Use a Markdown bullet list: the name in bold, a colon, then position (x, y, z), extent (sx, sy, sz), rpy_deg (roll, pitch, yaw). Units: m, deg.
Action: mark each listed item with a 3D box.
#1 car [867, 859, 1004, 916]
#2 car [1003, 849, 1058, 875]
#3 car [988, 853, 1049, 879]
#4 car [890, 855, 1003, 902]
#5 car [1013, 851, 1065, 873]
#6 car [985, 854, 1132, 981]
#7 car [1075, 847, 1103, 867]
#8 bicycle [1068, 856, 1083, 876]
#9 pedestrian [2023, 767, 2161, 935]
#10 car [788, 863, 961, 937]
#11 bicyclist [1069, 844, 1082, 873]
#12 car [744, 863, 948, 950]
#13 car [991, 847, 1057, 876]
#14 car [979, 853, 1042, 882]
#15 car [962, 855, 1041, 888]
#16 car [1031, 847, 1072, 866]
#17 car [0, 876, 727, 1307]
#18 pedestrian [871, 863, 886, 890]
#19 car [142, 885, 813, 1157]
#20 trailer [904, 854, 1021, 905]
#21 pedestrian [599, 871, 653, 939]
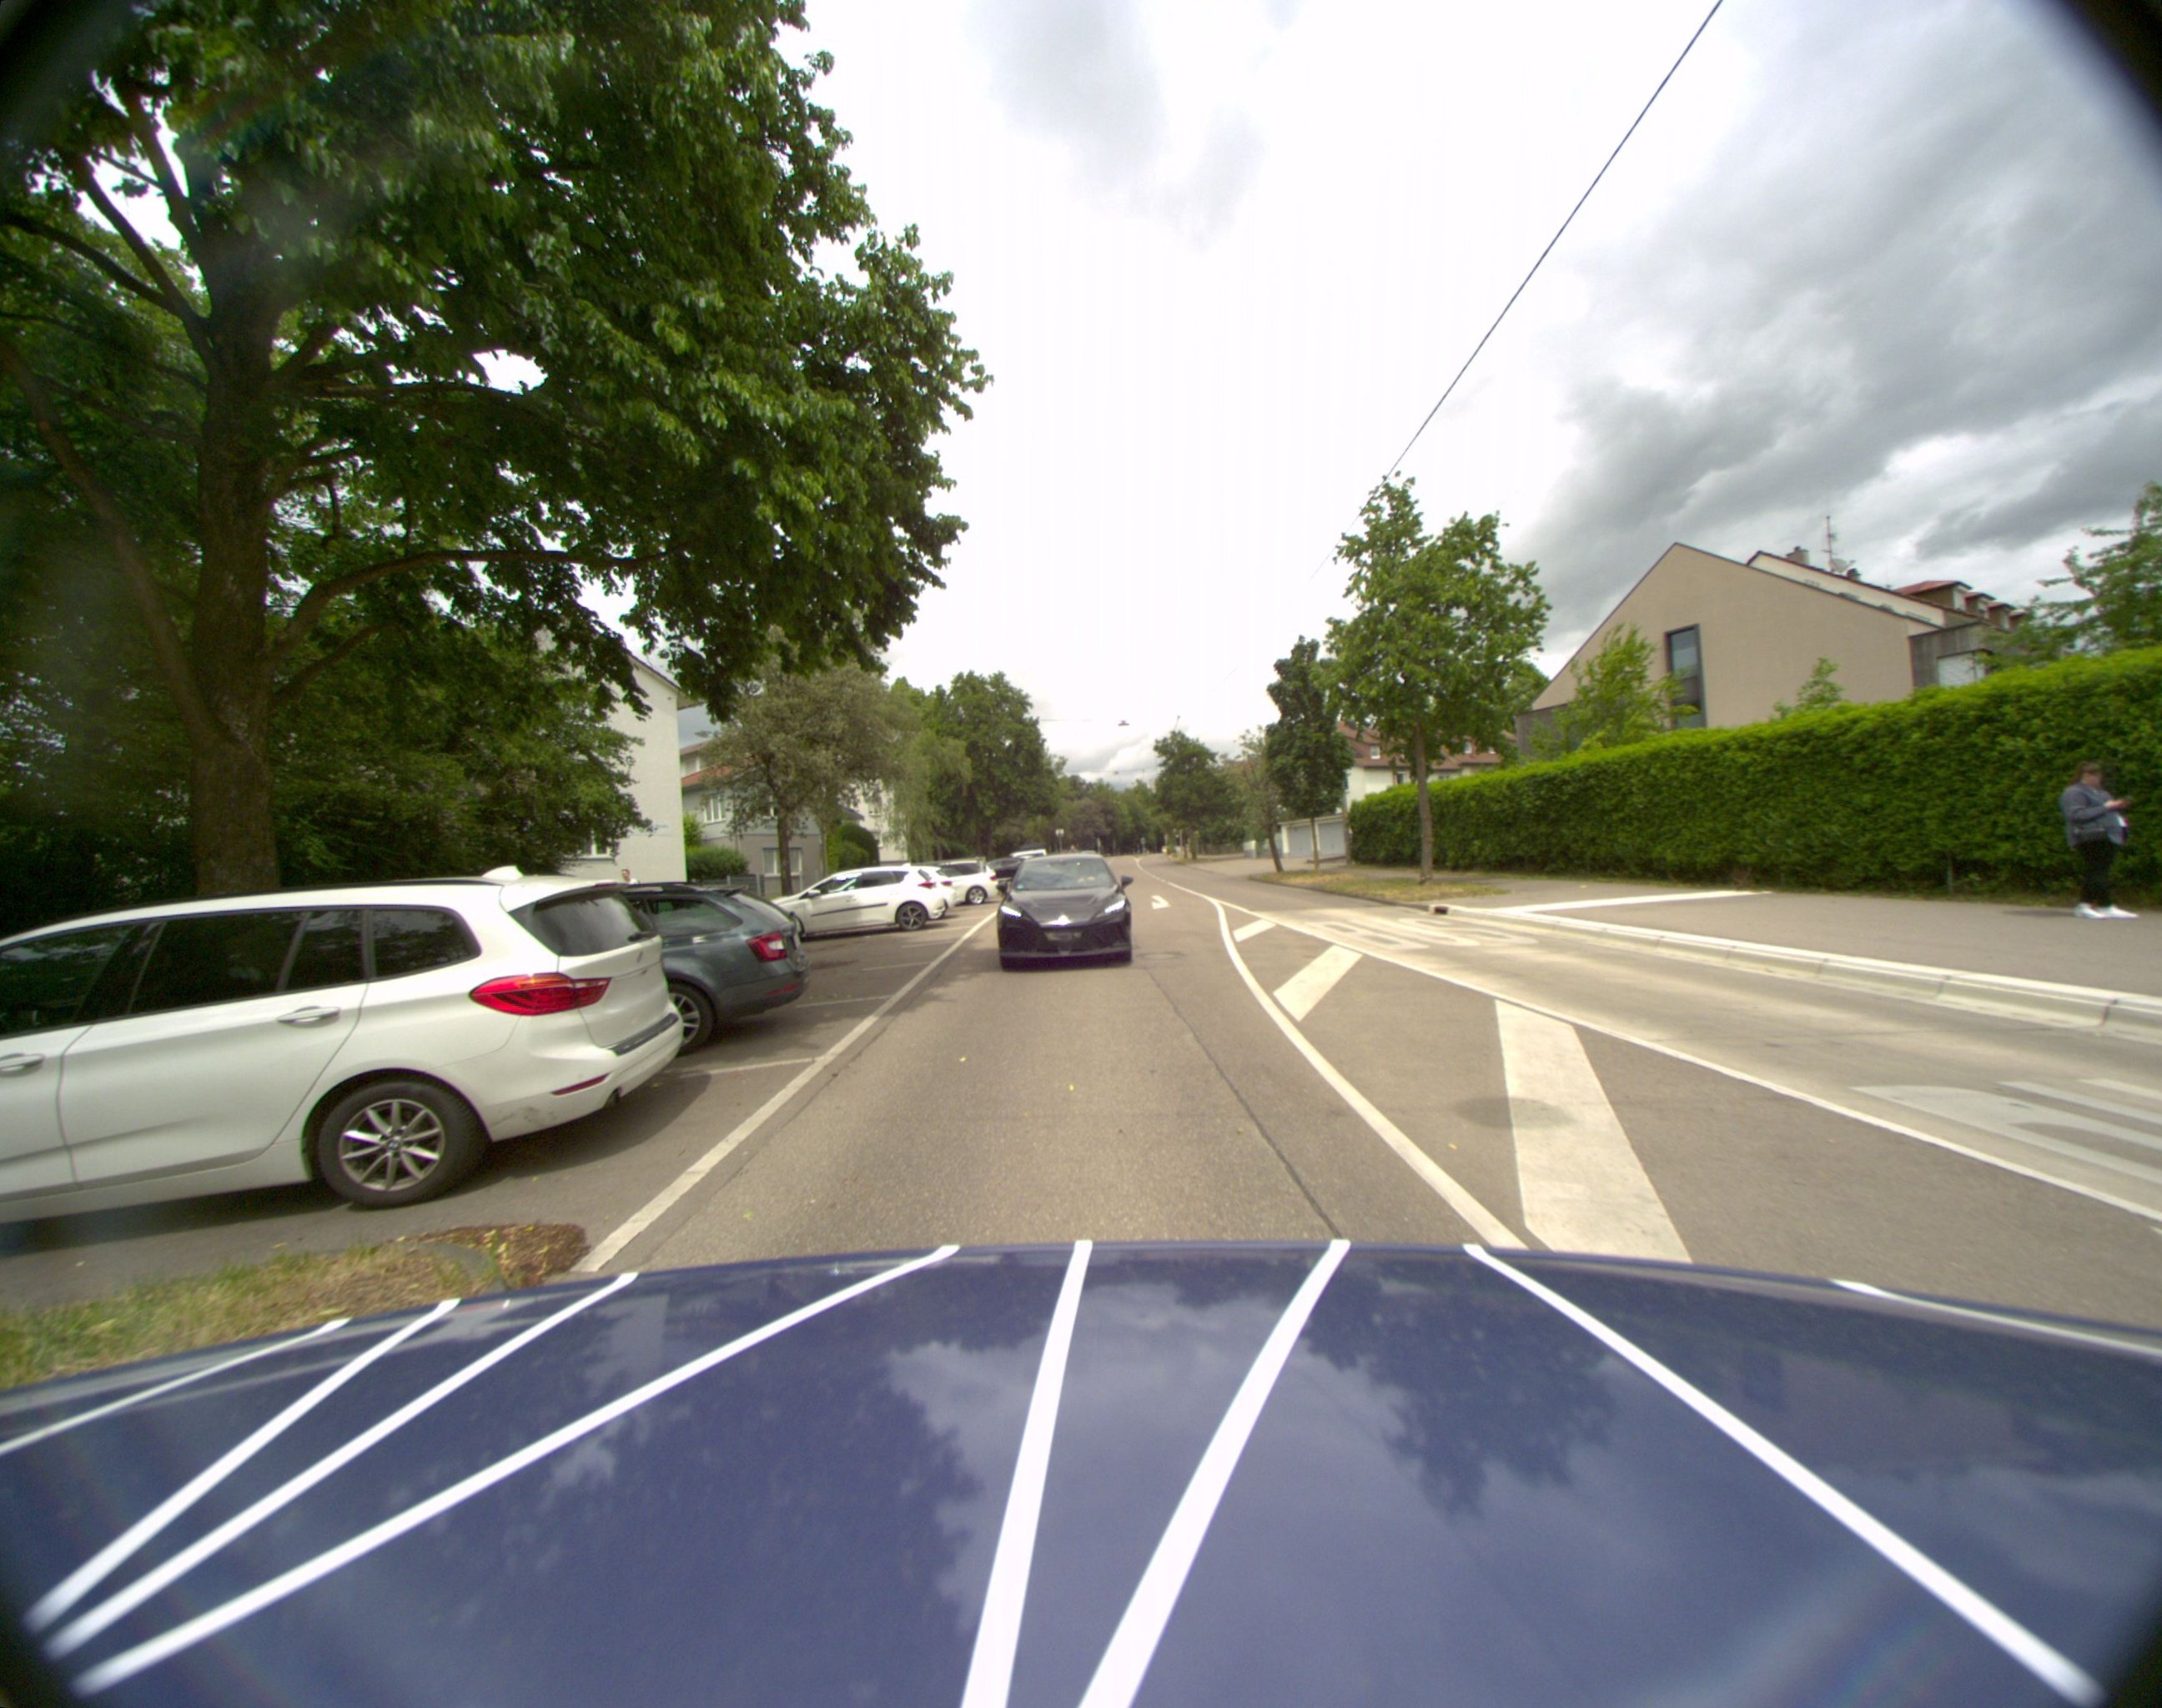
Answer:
- **car**: position (-4.797, 1.052, 25.043), extent (4.004, 1.456, 1.847), rpy_deg (-5, 1, -25)
- **car**: position (-3.875, 0.578, 57.975), extent (3.858, 1.634, 1.851), rpy_deg (-5, 1, -11)
- **car**: position (-4.298, 0.778, 51.730), extent (3.858, 1.430, 1.714), rpy_deg (-5, 1, -11)
- **car**: position (-5.310, 0.936, 29.995), extent (4.003, 1.456, 1.788), rpy_deg (-5, 1, -21)
- **car**: position (-3.369, 0.640, 60.738), extent (3.858, 1.426, 1.653), rpy_deg (-5, 1, -11)
- **car**: position (-0.212, 0.812, 11.599), extent (1.813, 1.484, 3.793), rpy_deg (-3, 1, 2)
- **car**: position (0.657, 0.208, 59.405), extent (1.860, 1.366, 4.076), rpy_deg (-3, 1, 4)
- **bicycle**: position (-0.338, 0.732, 48.049), extent (0.648, 1.230, 1.876), rpy_deg (-3, 1, -8)
- **pedestrian**: position (11.025, -0.042, 8.207), extent (0.694, 1.701, 0.778), rpy_deg (-4, 1, -6)
- **car**: position (-5.227, 1.122, 19.565), extent (4.001, 1.456, 1.794), rpy_deg (-5, 1, -13)
- **bicyclist**: position (-0.370, 0.268, 47.989), extent (0.647, 1.769, 0.627), rpy_deg (-3, 2, -9)
- **car**: position (-5.153, 1.082, 16.916), extent (4.002, 1.456, 1.863), rpy_deg (-5, 1, -17)
- **car**: position (-4.115, 0.509, 54.935), extent (4.225, 1.748, 1.856), rpy_deg (-5, 1, -22)
- **car**: position (-4.334, 0.829, 46.607), extent (3.516, 1.456, 1.713), rpy_deg (-5, 1, -17)
- **car**: position (-4.332, 0.902, 41.302), extent (3.859, 1.426, 1.712), rpy_deg (-5, 2, -22)
- **car**: position (-3.036, 0.264, 78.080), extent (3.859, 1.603, 1.653), rpy_deg (-5, 1, -17)
- **car**: position (-4.673, 1.124, 4.170), extent (4.483, 1.576, 1.905), rpy_deg (-5, 1, -10)
- **pedestrian**: position (-11.567, 1.263, 43.399), extent (0.694, 1.496, 0.777), rpy_deg (-4, 1, -17)
- **car**: position (-4.673, 1.220, 6.692), extent (4.148, 1.456, 1.796), rpy_deg (-5, 1, -16)
- **trailer**: position (-4.395, 0.911, 27.982), extent (4.002, 1.543, 1.657), rpy_deg (-4, 1, -15)
- **pedestrian**: position (-11.376, 1.264, 19.013), extent (0.692, 1.634, 0.779), rpy_deg (-3, 1, 21)
